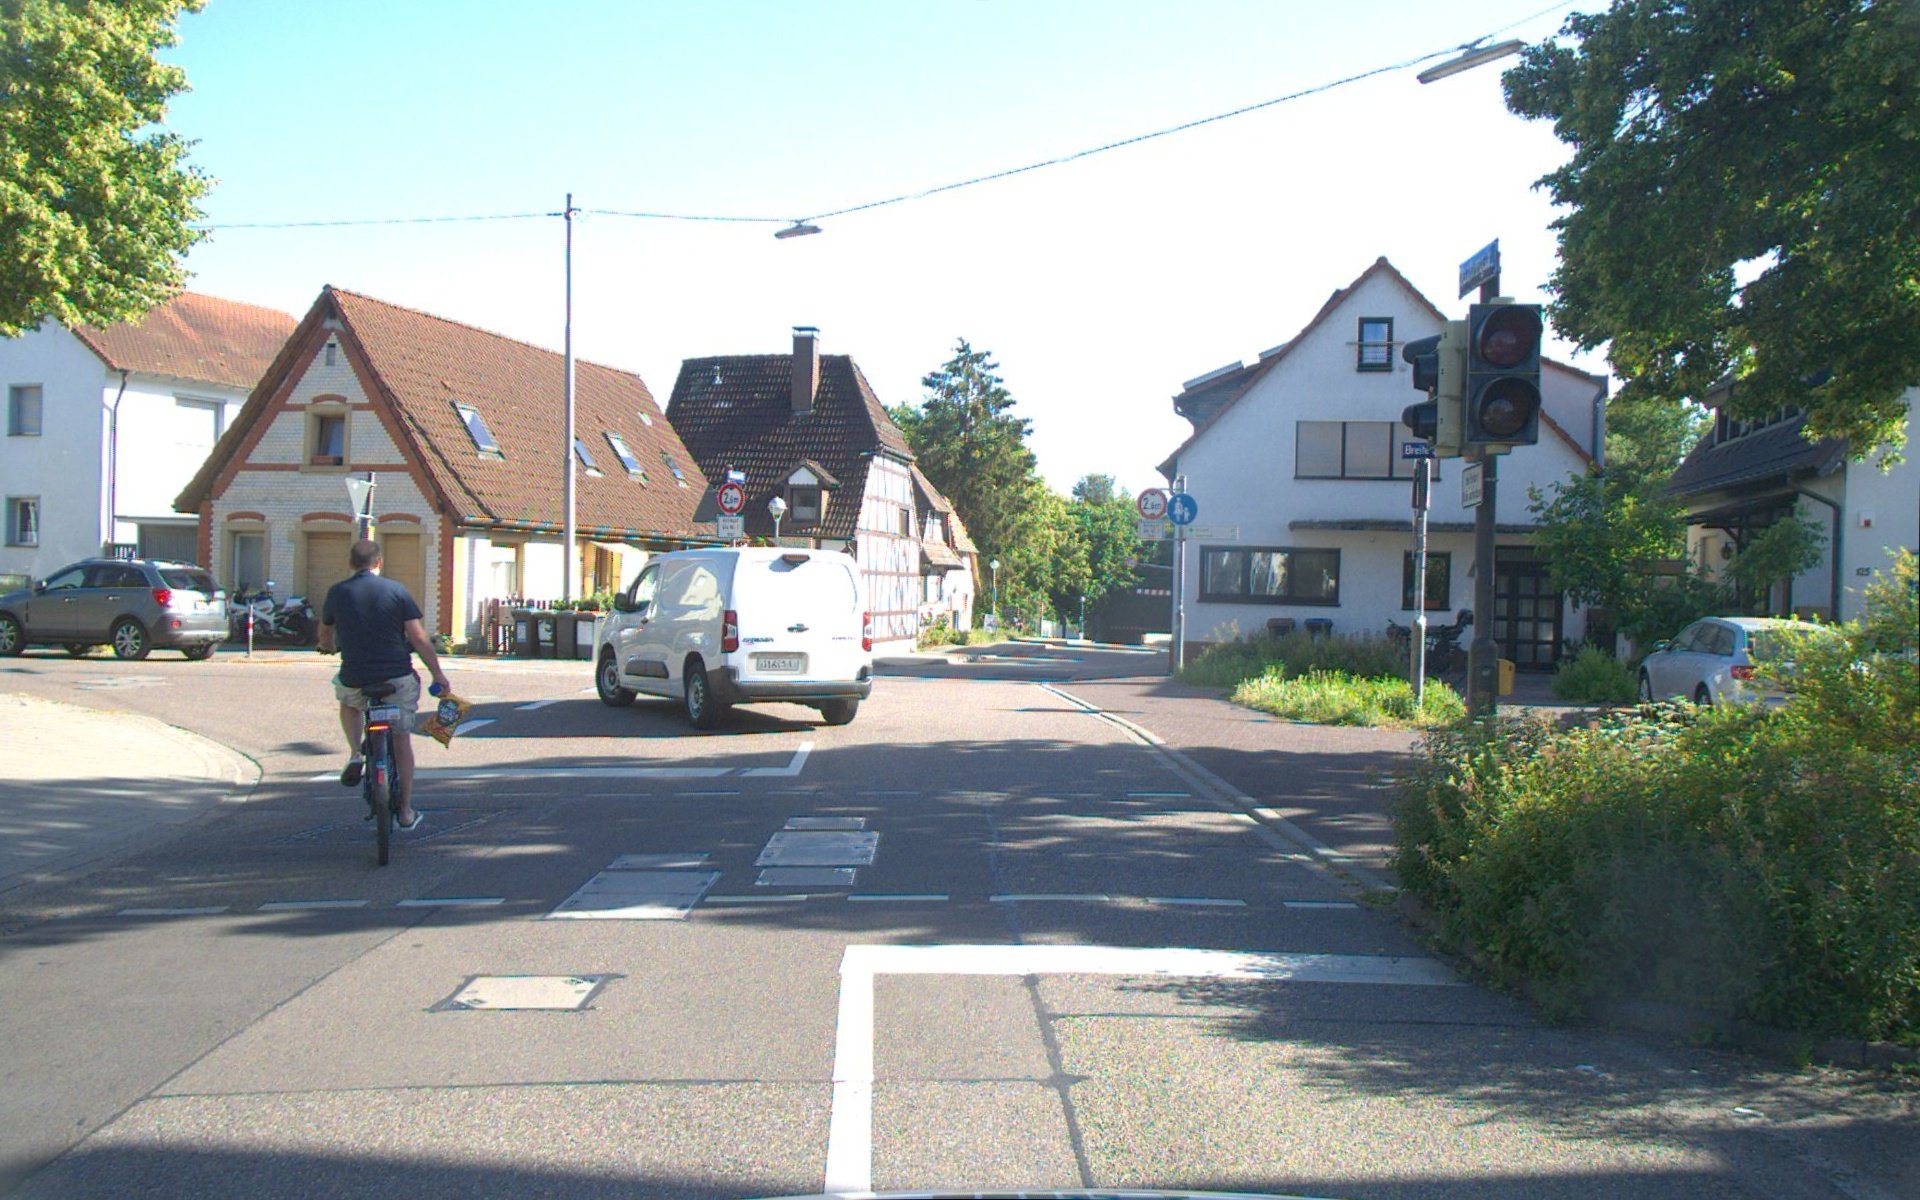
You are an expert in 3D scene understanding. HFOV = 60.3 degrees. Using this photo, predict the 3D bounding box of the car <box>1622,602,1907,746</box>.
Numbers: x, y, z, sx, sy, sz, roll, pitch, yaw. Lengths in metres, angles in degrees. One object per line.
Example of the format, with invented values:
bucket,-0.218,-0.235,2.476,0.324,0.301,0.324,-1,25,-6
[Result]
car,10.295,0.862,21.621,1.951,1.446,4.807,2,2,9

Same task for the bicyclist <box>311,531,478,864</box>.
bicyclist,-3.230,0.530,9.520,0.750,1.820,0.851,1,0,-9

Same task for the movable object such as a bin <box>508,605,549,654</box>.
movable object such as a bin,-8.541,0.577,32.756,0.497,0.941,0.626,2,0,17

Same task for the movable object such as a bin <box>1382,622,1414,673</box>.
movable object such as a bin,8.880,0.956,33.544,0.518,1.000,0.670,2,0,8

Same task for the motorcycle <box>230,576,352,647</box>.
motorcycle,-13.376,0.214,33.067,2.195,1.317,0.883,1,3,18

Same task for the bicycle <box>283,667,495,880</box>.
bicycle,-3.234,0.929,9.591,0.760,0.956,2.286,0,1,-9

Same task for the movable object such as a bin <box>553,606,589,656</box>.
movable object such as a bin,-7.630,0.600,32.455,0.402,0.941,0.626,2,0,17

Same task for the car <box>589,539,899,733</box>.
car,-2.555,0.293,18.475,1.935,1.880,4.517,0,1,-29

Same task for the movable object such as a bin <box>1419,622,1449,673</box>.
movable object such as a bin,9.581,0.958,33.466,0.487,0.993,0.594,2,0,8

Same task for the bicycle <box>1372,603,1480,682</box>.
bicycle,8.151,0.733,28.975,1.700,1.306,0.701,2,0,7

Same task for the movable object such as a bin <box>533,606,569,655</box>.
movable object such as a bin,-8.055,0.595,32.592,0.403,0.921,0.626,2,1,17

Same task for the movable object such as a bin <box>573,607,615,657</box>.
movable object such as a bin,-7.141,0.621,32.309,0.544,0.941,0.626,2,0,17

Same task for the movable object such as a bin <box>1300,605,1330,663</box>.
movable object such as a bin,7.238,0.691,33.728,0.515,1.142,0.749,2,0,8

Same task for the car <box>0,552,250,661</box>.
car,-15.055,0.099,29.405,4.131,1.755,1.947,2,0,16

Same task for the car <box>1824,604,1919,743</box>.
car,12.787,0.927,21.691,1.672,1.543,4.407,3,2,16
